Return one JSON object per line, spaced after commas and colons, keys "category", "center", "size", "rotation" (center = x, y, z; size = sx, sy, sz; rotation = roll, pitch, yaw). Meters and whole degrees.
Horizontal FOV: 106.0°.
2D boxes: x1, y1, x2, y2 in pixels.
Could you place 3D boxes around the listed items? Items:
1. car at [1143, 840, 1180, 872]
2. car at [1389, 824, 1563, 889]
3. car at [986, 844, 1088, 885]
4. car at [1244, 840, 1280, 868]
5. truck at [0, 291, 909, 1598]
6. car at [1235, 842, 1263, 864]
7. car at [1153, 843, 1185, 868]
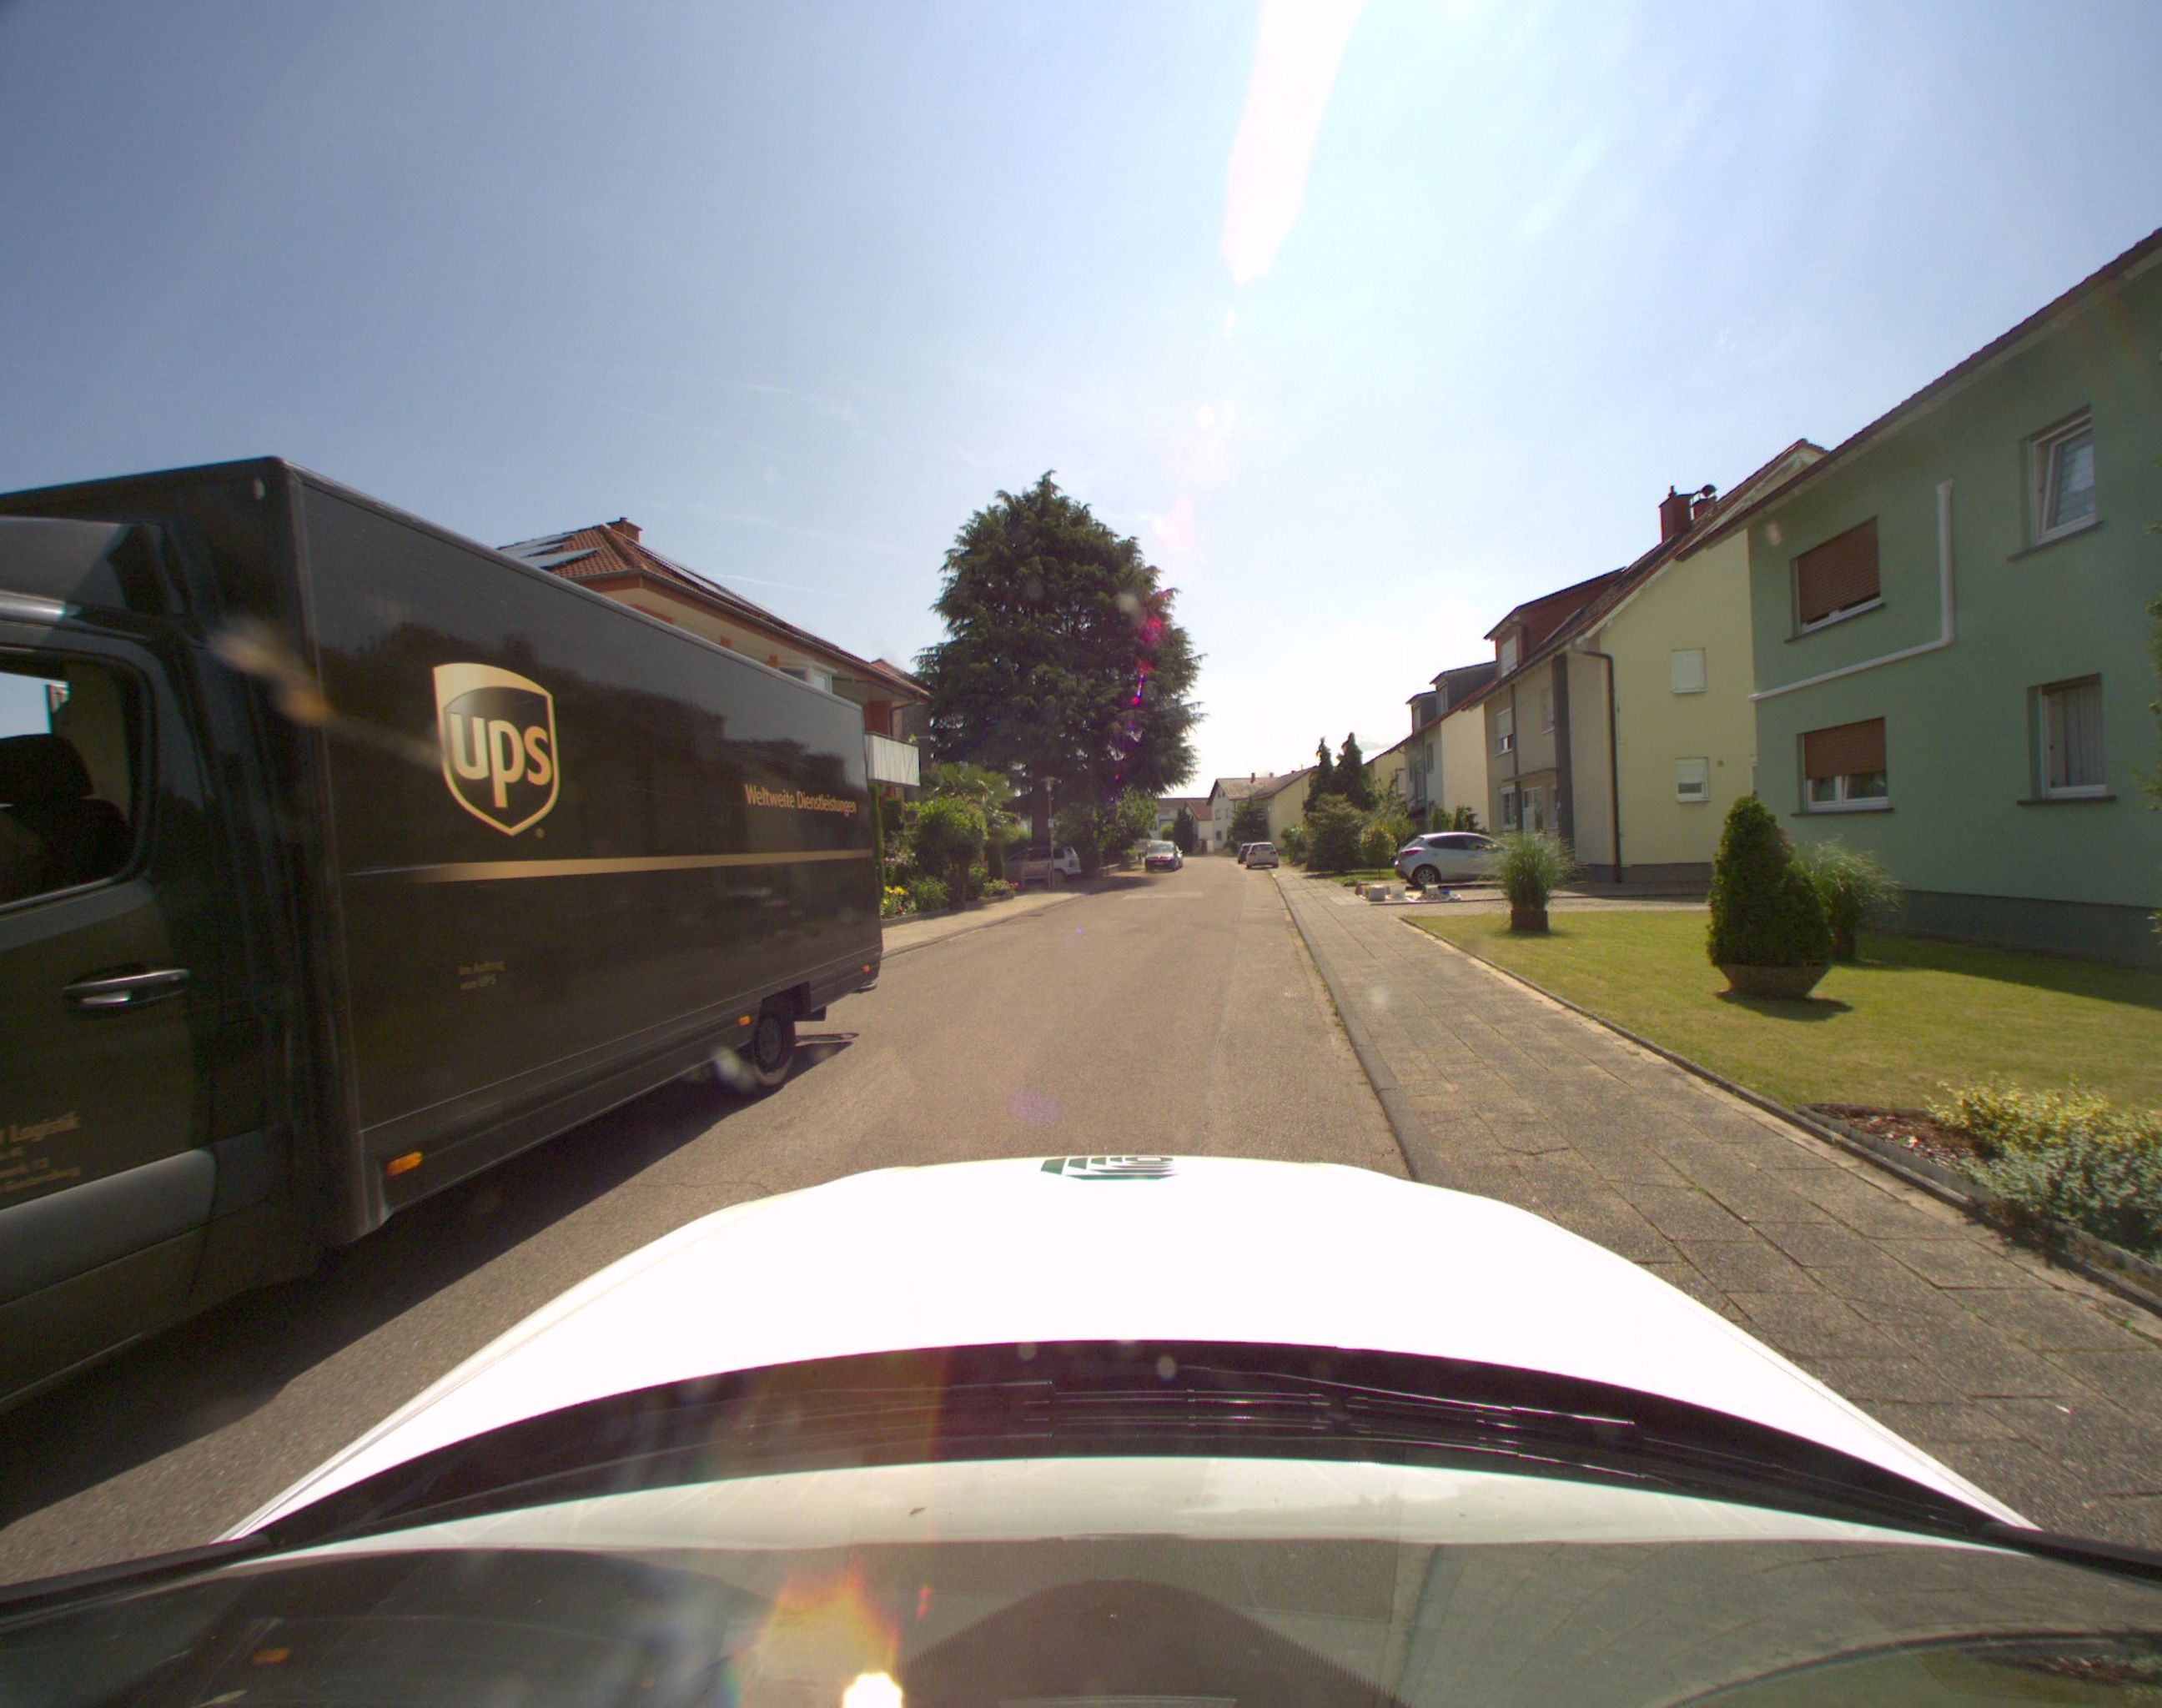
{"category": "car", "center": [4.800, 0.088, 48.079], "size": [1.797, 1.762, 4.218], "rotation": [-2, 0, 9]}
{"category": "car", "center": [10.615, 0.060, 22.162], "size": [3.887, 1.510, 1.780], "rotation": [-3, 0, 12]}
{"category": "car", "center": [-1.982, 0.465, 36.901], "size": [4.162, 1.653, 1.821], "rotation": [-2, 0, 14]}
{"category": "car", "center": [10.503, -0.026, 47.506], "size": [1.797, 1.495, 4.011], "rotation": [-2, 1, 9]}
{"category": "truck", "center": [-3.286, 0.218, 3.811], "size": [2.421, 2.787, 7.312], "rotation": [-5, 0, 7]}
{"category": "car", "center": [12.362, -0.121, 59.970], "size": [1.797, 1.495, 4.011], "rotation": [-2, 1, 9]}
{"category": "car", "center": [5.858, 0.076, 53.957], "size": [1.797, 1.495, 4.011], "rotation": [-2, 1, 9]}
